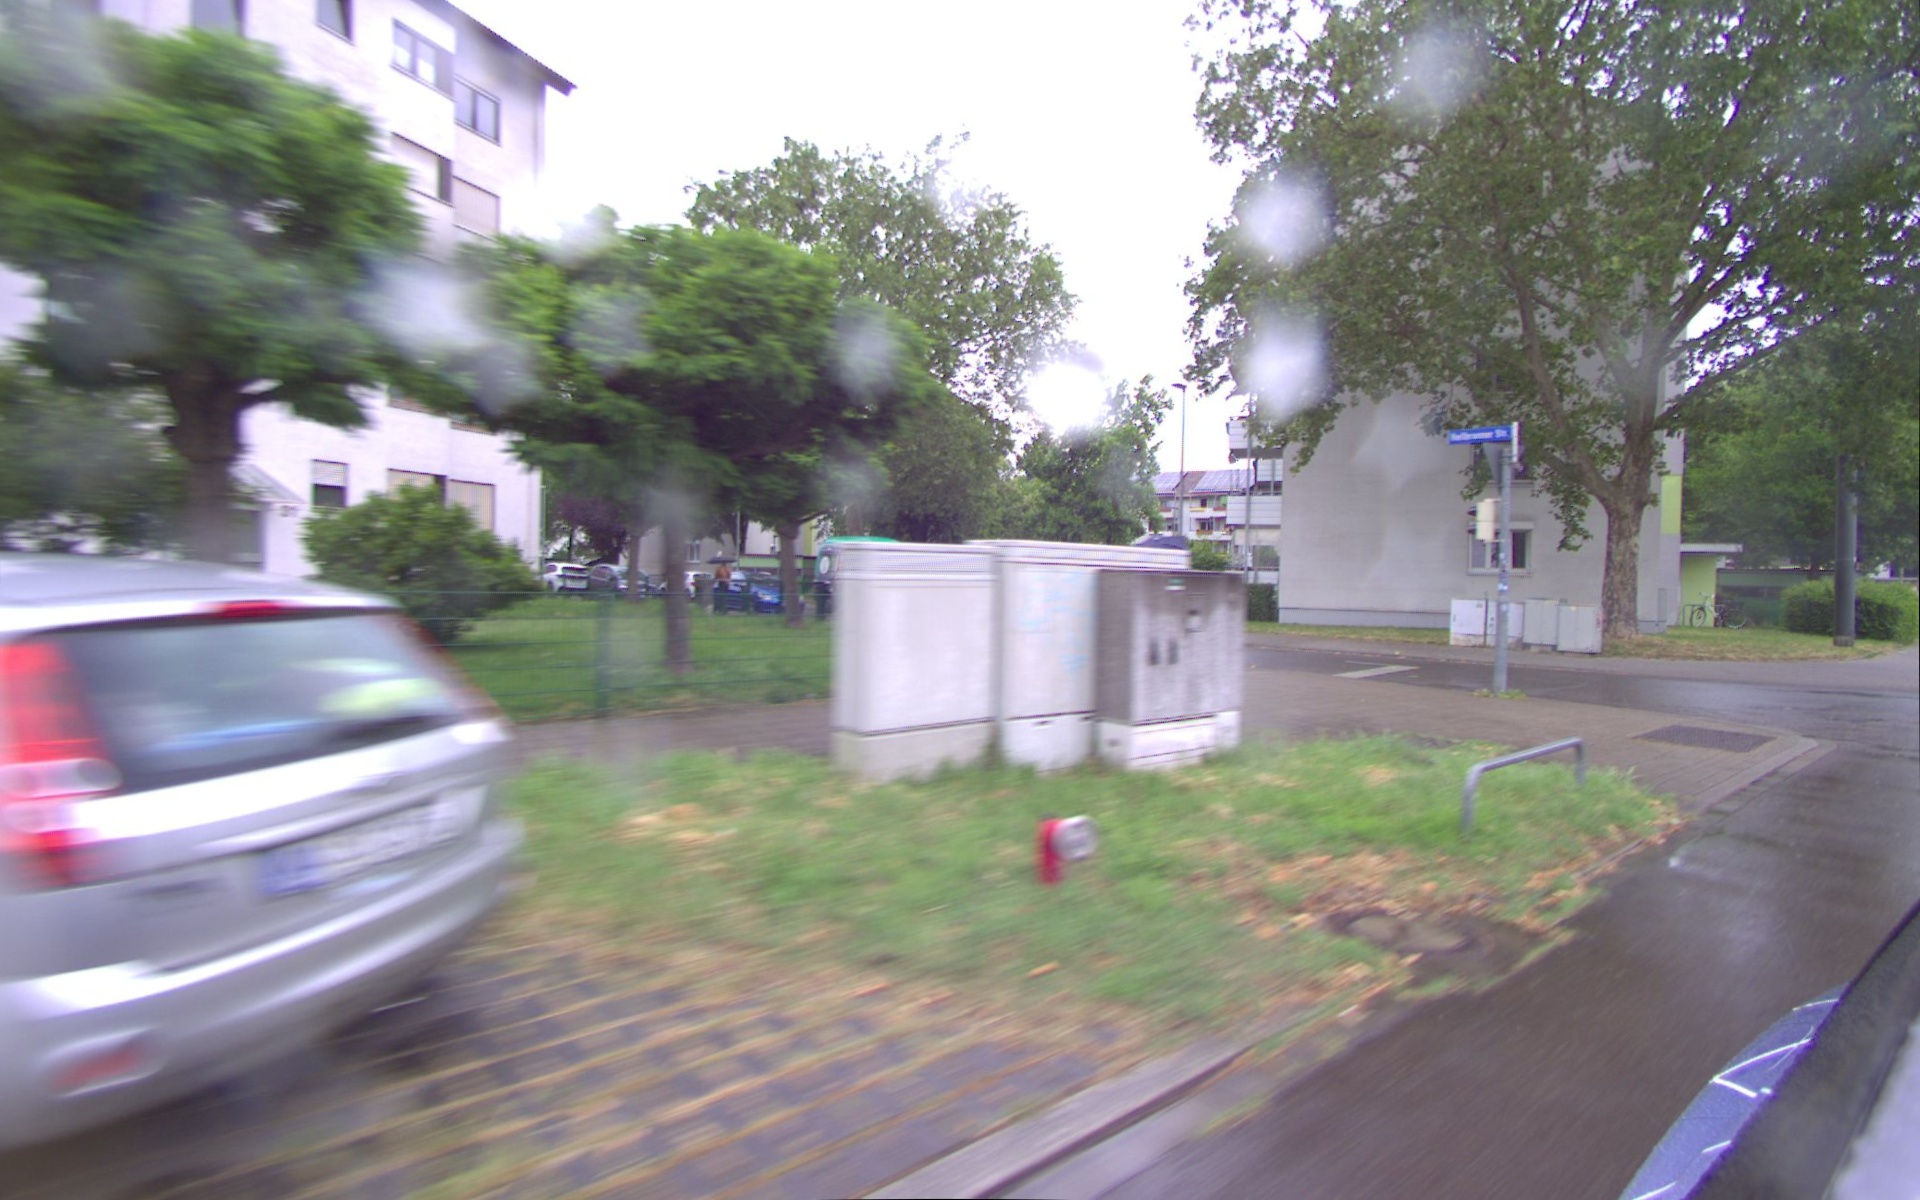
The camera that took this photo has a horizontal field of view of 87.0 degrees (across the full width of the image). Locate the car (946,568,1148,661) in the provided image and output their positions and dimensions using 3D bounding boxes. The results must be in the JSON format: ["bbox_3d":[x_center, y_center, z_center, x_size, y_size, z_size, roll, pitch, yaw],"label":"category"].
[{"bbox_3d":[1.743,0.219,21.584,1.837,1.701,4.305,0,3,-38],"label":"car"}]

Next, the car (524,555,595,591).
[{"bbox_3d":[-18.341,-1.259,46.257,1.656,1.524,4.302,0,3,-41],"label":"car"}]

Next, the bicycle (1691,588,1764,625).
[{"bbox_3d":[25.871,0.207,34.150,1.841,1.156,0.529,2,1,25],"label":"bicycle"}]

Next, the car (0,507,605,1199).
[{"bbox_3d":[-3.359,0.465,3.188,3.942,1.526,1.777,2,4,15],"label":"car"}]

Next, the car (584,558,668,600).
[{"bbox_3d":[-13.272,-0.862,40.092,1.656,1.524,4.302,0,3,-41],"label":"car"}]

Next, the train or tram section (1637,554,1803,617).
[{"bbox_3d":[45.458,-0.979,61.141,2.708,3.380,10.343,2,2,4],"label":"train or tram section"}]

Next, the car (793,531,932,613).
[{"bbox_3d":[-3.737,-1.069,37.508,2.147,2.813,6.136,1,2,-38],"label":"car"}]

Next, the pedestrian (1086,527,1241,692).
[{"bbox_3d":[2.413,0.092,12.062,1.405,1.836,1.104,1,1,-30],"label":"pedestrian"}]

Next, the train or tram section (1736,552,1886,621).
[{"bbox_3d":[44.928,-0.773,53.733,2.708,3.381,6.395,2,2,4],"label":"train or tram section"}]

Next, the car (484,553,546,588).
[{"bbox_3d":[-22.511,-1.514,51.081,1.656,1.676,4.302,0,3,-41],"label":"car"}]

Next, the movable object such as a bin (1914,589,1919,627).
[{"bbox_3d":[37.646,0.356,38.591,1.134,1.458,1.473,2,2,9],"label":"movable object such as a bin"}]

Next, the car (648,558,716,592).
[{"bbox_3d":[-13.431,-1.221,48.762,1.708,1.524,4.004,1,2,-38],"label":"car"}]
